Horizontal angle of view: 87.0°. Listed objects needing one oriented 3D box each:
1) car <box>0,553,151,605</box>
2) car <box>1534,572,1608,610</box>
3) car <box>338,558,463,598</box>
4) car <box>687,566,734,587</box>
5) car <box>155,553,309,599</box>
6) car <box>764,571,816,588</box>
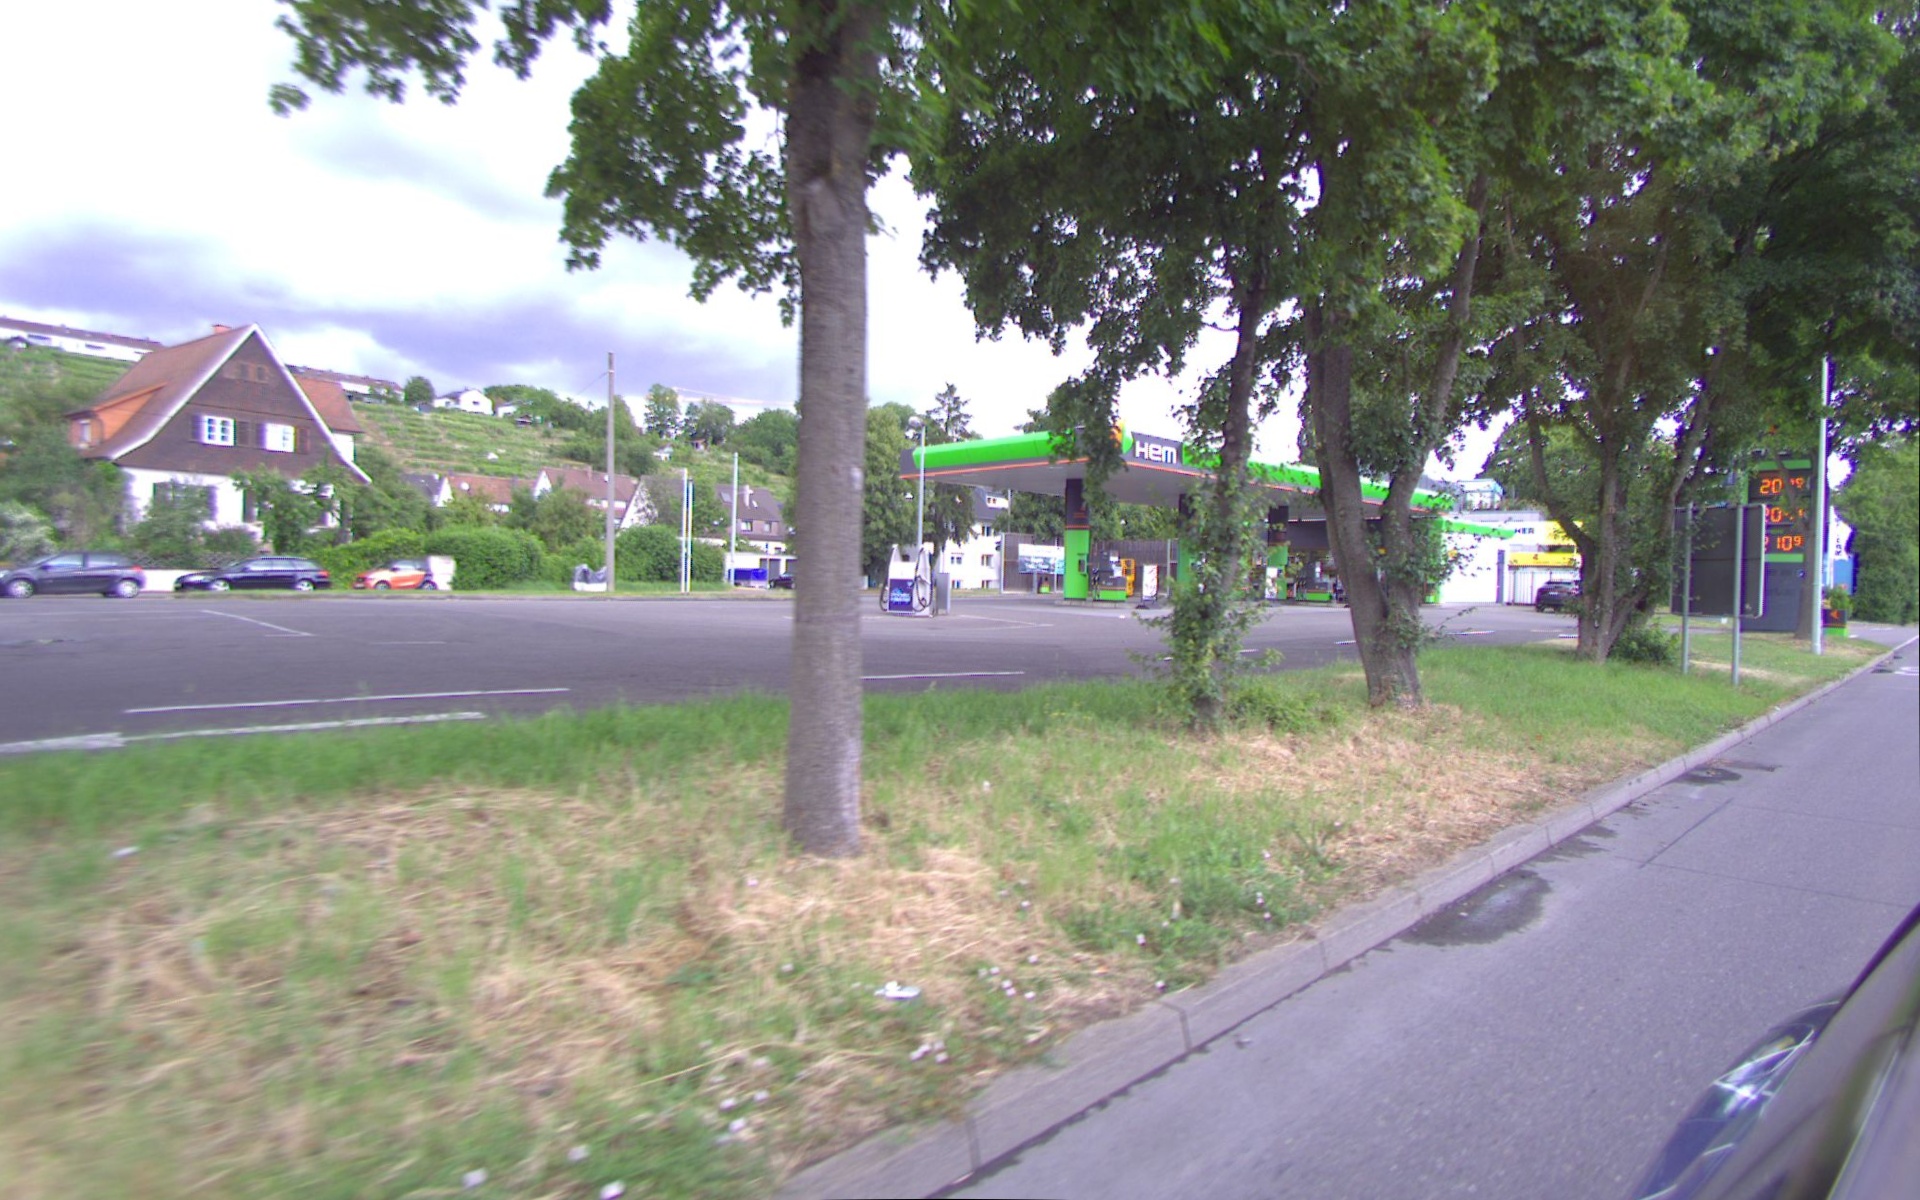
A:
[{"bbox_3d":[-27.953,-0.613,31.512,1.986,1.483,3.951,-1,-1,34],"label":"car"},{"bbox_3d":[29.891,-0.454,49.476,4.254,1.658,1.997,0,4,-44],"label":"car"},{"bbox_3d":[-22.316,-0.849,40.486,1.986,1.483,3.951,-1,-1,34],"label":"car"},{"bbox_3d":[-18.261,-1.717,73.897,1.641,1.422,3.868,0,-1,-43],"label":"car"},{"bbox_3d":[-25.365,-0.779,35.365,1.986,1.483,3.951,-1,-1,34],"label":"car"},{"bbox_3d":[-13.102,-1.587,77.837,3.985,1.234,1.815,3,2,42],"label":"car"}]
